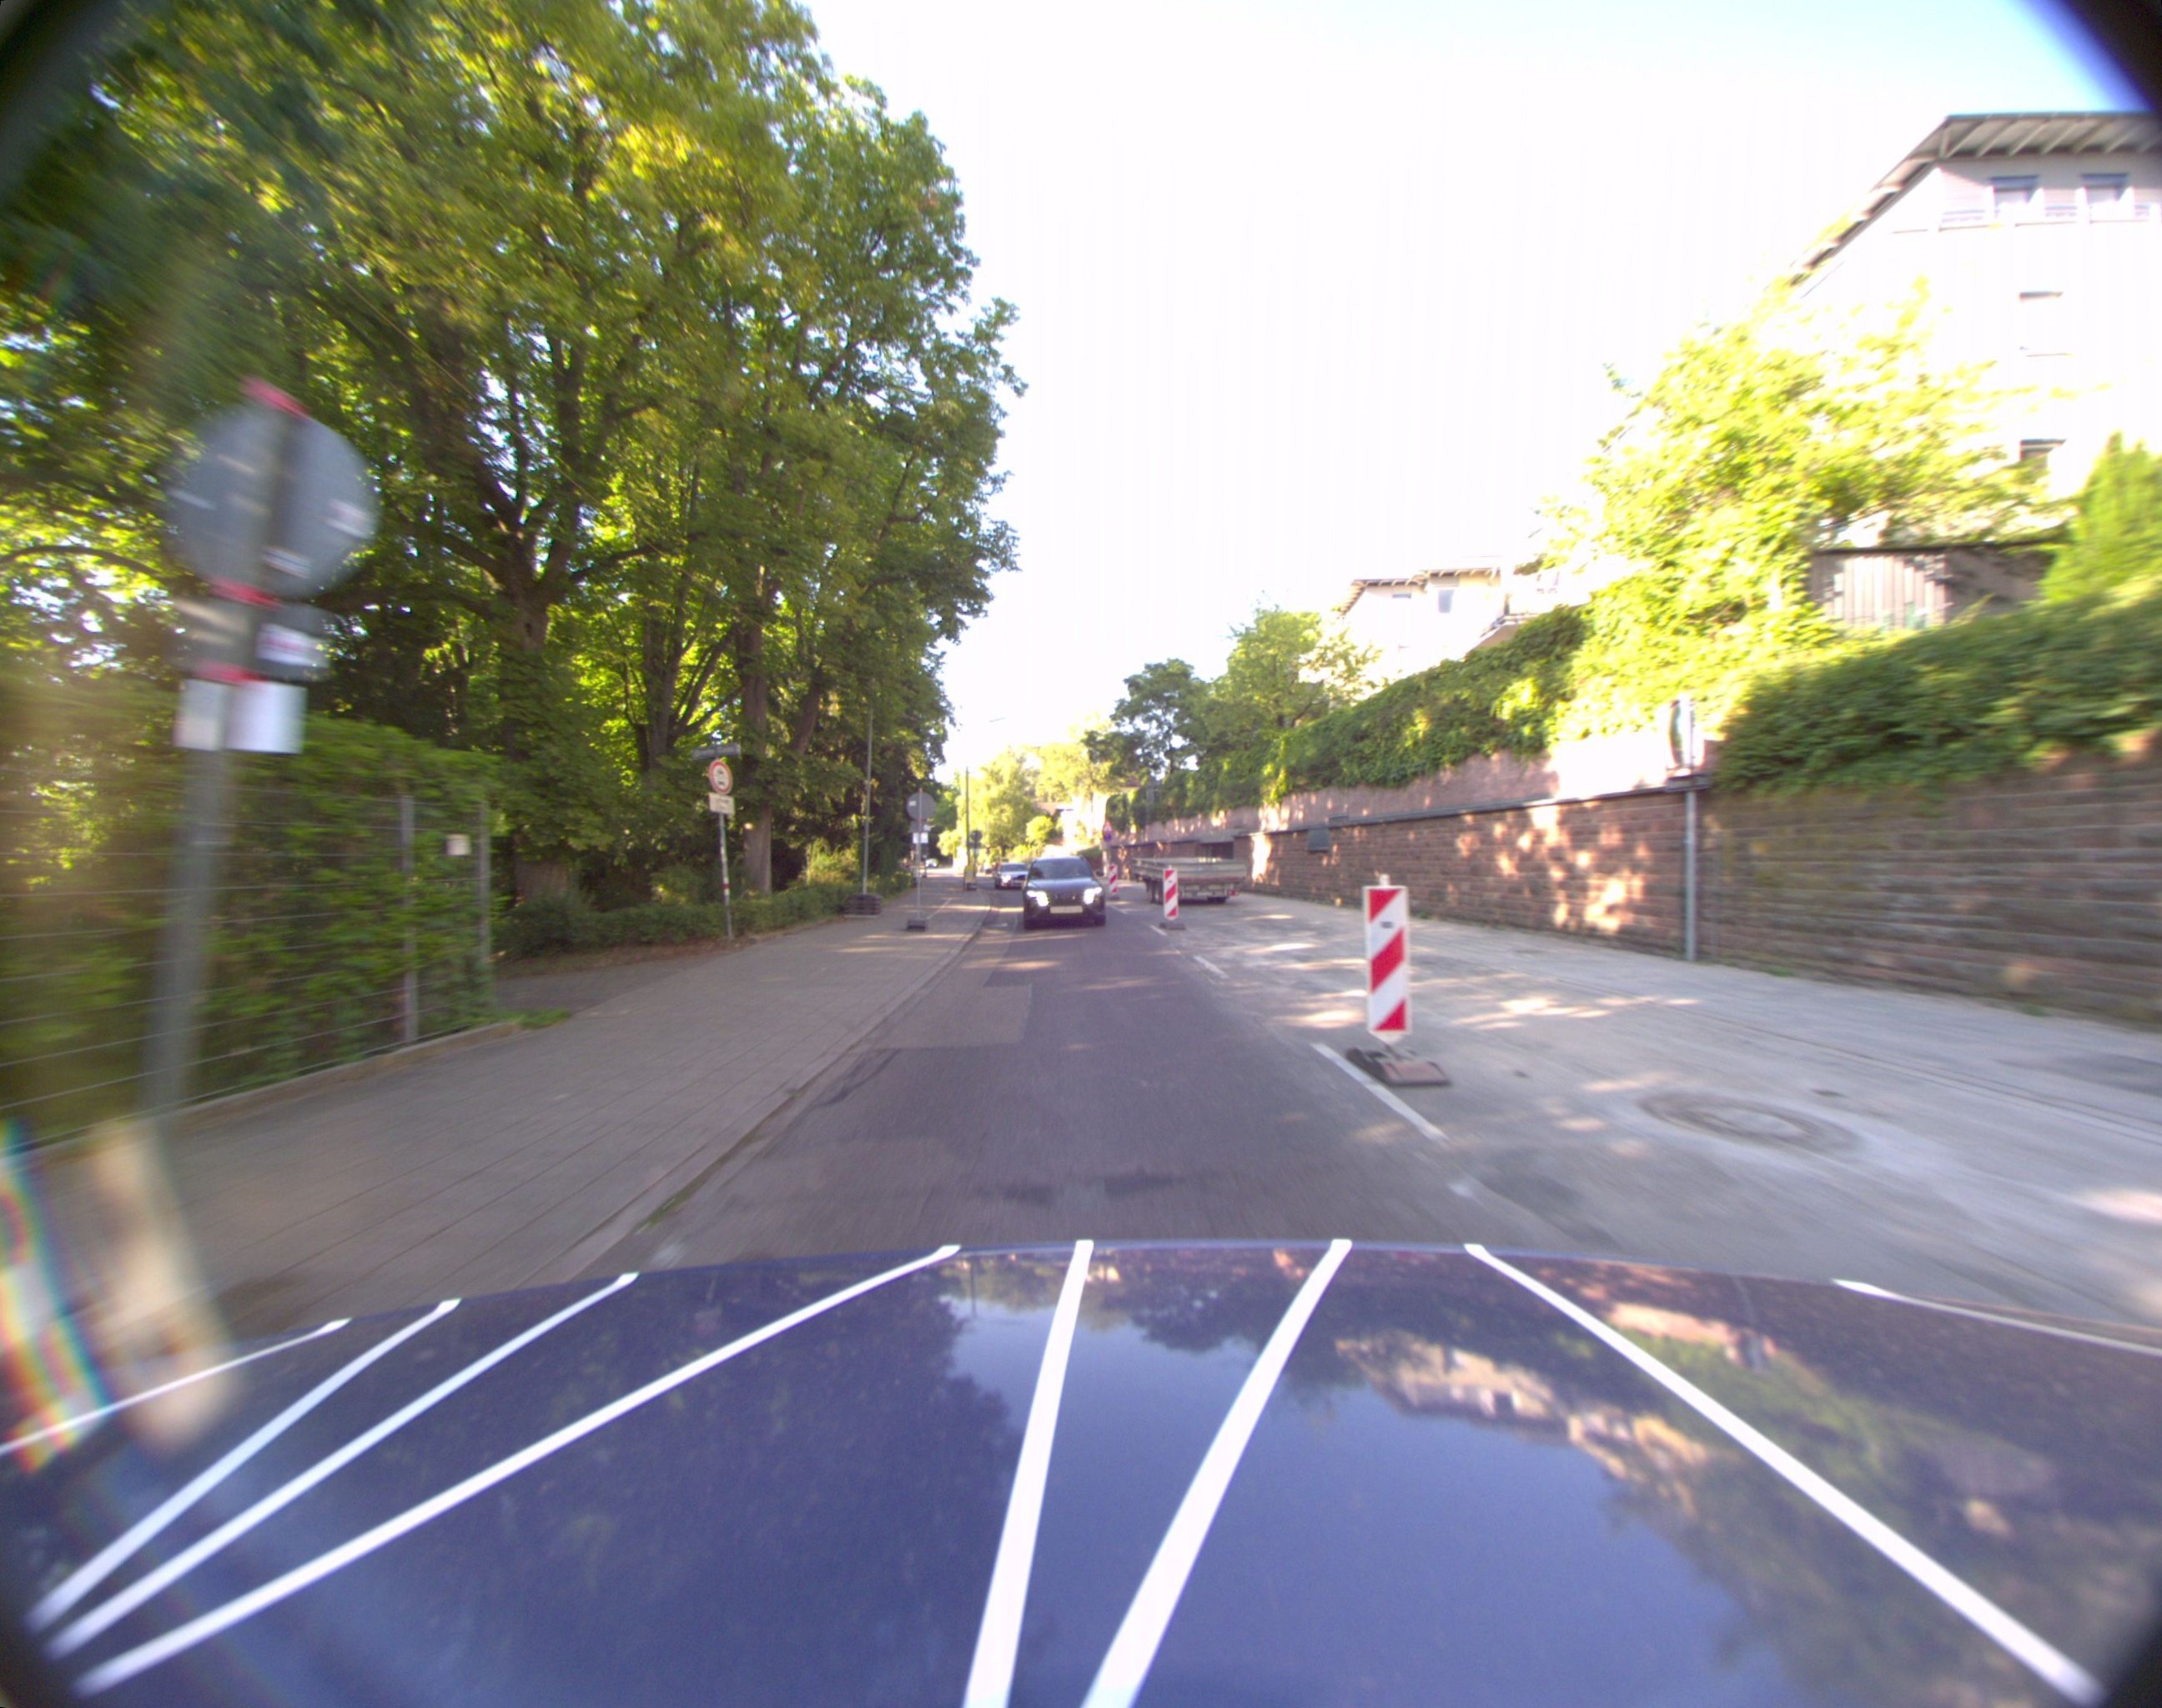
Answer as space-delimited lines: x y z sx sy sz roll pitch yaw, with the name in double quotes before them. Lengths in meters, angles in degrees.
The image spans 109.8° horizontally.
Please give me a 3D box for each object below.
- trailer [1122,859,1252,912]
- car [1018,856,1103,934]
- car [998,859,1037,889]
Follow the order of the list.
"trailer" 3.371 0.956 26.172 2.648 1.480 7.113 -1 0 -7
"car" -0.385 0.901 18.783 1.788 1.639 4.475 -2 0 2
"car" -3.499 1.034 41.100 1.664 1.468 3.679 -1 0 -12
